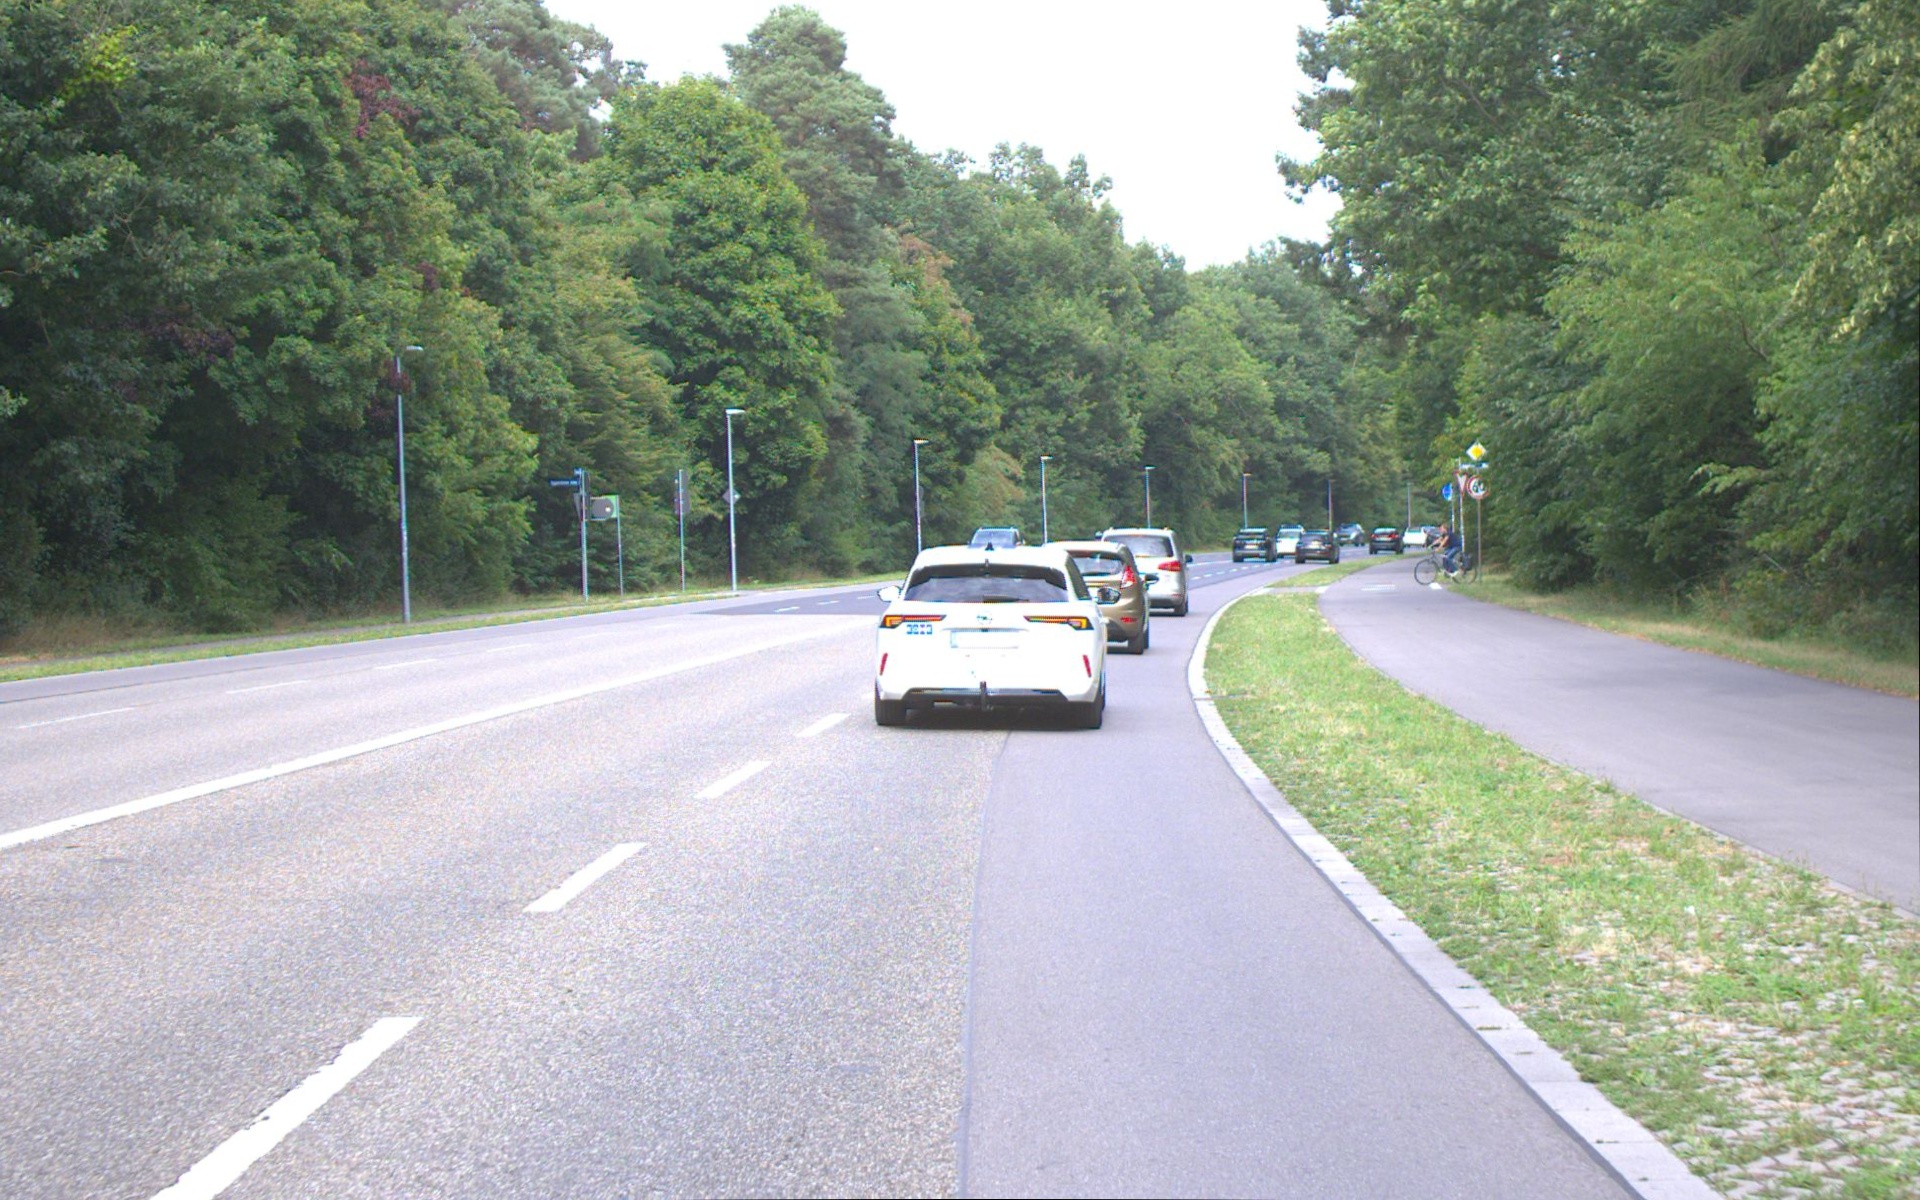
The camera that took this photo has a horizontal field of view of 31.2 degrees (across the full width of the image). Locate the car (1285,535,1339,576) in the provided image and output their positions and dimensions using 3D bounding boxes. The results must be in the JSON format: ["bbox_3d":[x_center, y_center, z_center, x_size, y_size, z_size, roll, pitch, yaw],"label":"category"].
[{"bbox_3d":[16.308,-2.048,159.044,1.994,1.777,3.998,2,0,12],"label":"car"}]

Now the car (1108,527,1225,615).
[{"bbox_3d":[4.052,-0.559,66.986,1.994,1.601,3.999,2,0,7],"label":"car"}]

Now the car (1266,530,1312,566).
[{"bbox_3d":[17.383,-2.752,181.499,1.994,1.777,3.998,2,0,10],"label":"car"}]

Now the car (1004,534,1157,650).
[{"bbox_3d":[1.629,-0.104,45.240,1.636,1.415,3.999,2,0,7],"label":"car"}]

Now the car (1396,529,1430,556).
[{"bbox_3d":[32.483,-4.126,246.541,1.889,1.809,3.997,2,0,15],"label":"car"}]

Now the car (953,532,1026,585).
[{"bbox_3d":[1.090,-1.488,124.007,1.994,1.785,4.746,2,0,8],"label":"car"}]

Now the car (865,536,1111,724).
[{"bbox_3d":[0.178,0.209,28.065,1.836,1.405,4.491,0,0,-1],"label":"car"}]

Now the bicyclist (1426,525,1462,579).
[{"bbox_3d":[13.221,-1.311,93.882,0.898,1.465,0.711,0,1,3],"label":"bicyclist"}]

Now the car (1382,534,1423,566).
[{"bbox_3d":[26.268,-2.963,203.966,1.995,1.777,3.998,2,0,13],"label":"car"}]

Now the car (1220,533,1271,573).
[{"bbox_3d":[13.648,-2.226,164.122,1.994,1.777,3.998,2,0,10],"label":"car"}]

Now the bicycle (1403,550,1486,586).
[{"bbox_3d":[13.230,-0.874,93.899,2.174,0.991,0.711,0,1,3],"label":"bicycle"}]
